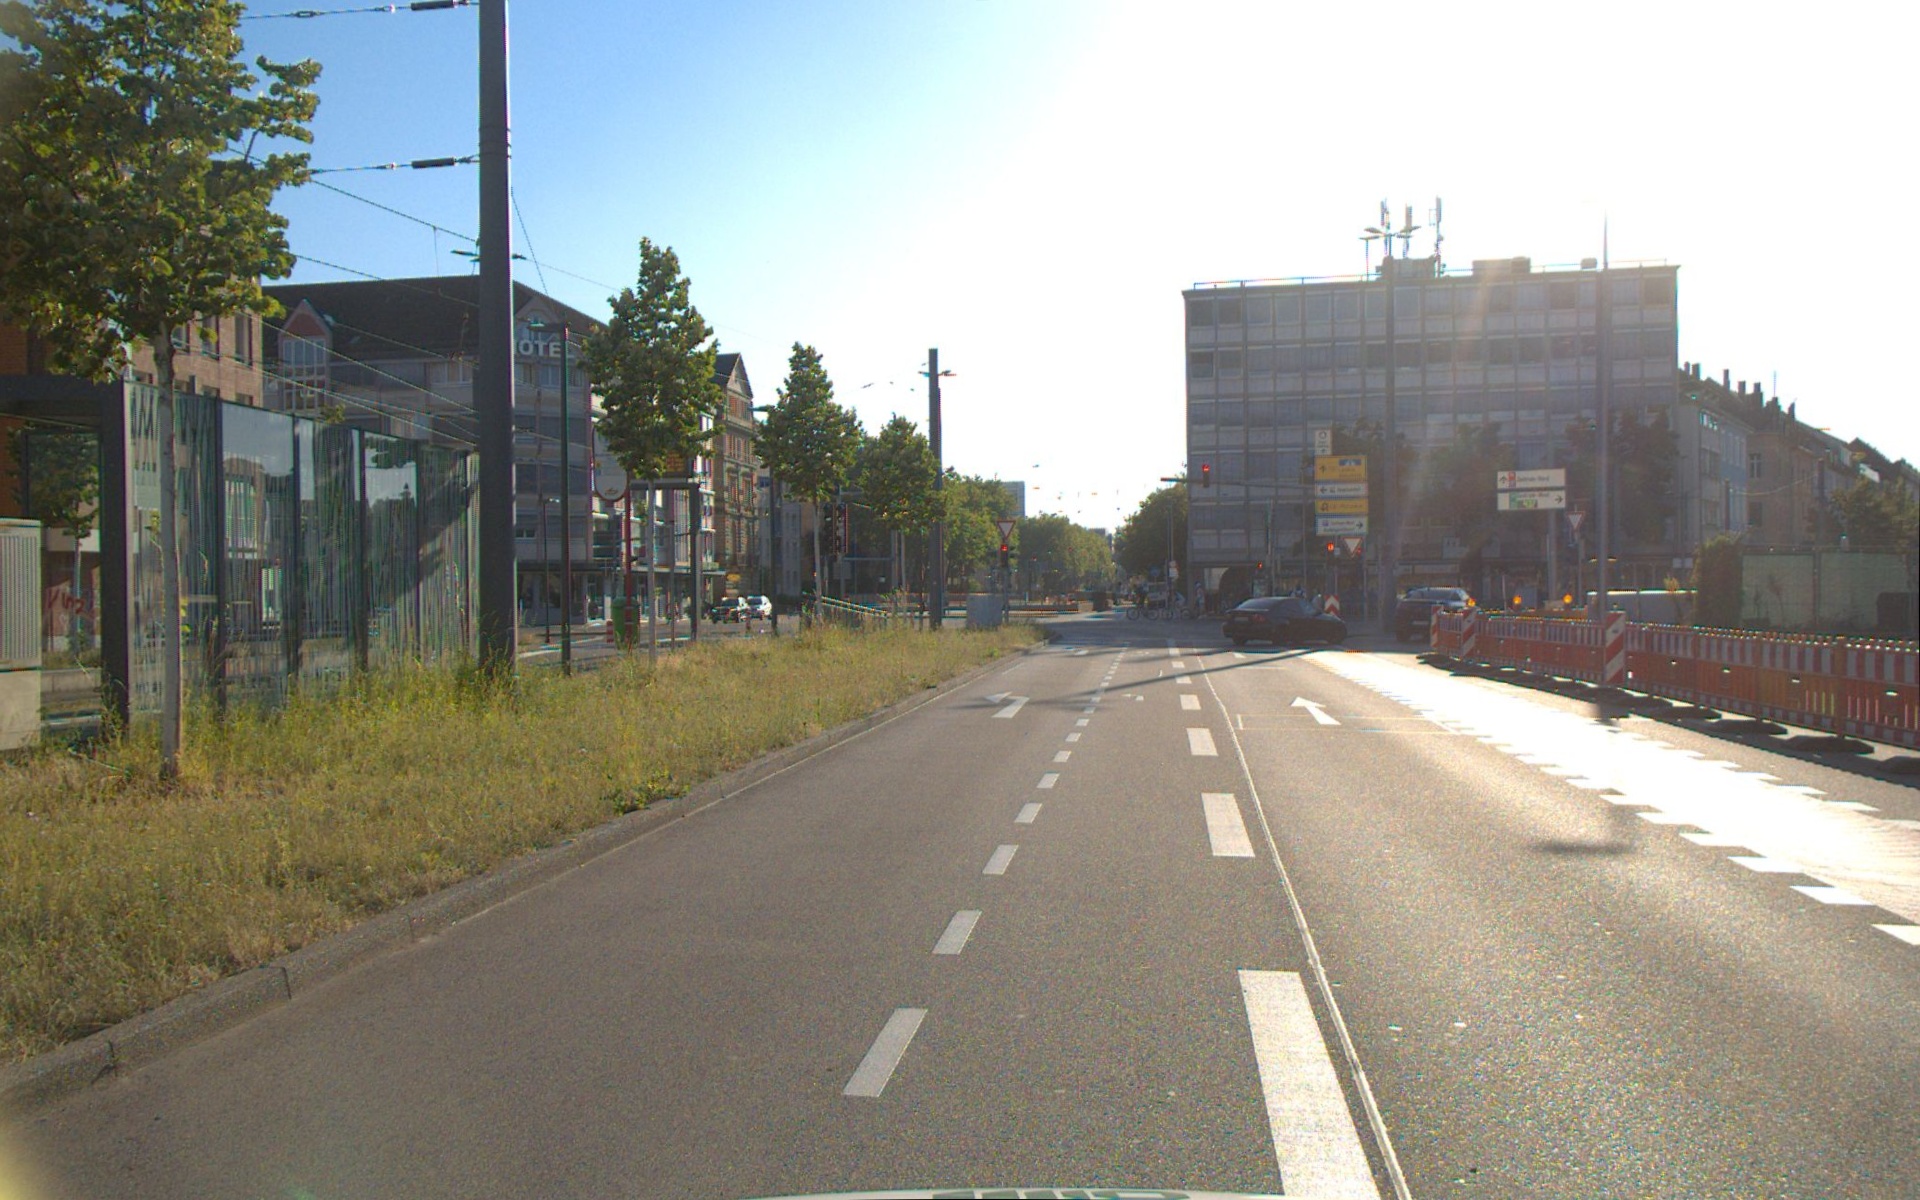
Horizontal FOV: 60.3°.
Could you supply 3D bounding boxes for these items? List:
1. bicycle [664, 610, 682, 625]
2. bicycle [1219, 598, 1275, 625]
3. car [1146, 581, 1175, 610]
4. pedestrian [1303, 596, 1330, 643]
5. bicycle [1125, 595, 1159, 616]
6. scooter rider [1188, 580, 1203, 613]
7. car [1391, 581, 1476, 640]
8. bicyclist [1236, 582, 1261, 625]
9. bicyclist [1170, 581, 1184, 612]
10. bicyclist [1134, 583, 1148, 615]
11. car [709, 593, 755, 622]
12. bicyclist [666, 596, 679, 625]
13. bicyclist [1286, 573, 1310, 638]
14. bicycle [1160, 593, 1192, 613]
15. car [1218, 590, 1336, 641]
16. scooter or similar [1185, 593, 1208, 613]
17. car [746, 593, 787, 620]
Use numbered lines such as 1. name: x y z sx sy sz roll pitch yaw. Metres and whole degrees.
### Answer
1. bicycle: -18.714 1.124 107.801 0.585 0.931 1.837 -1 0 8
2. bicycle: 11.442 0.469 66.006 2.178 1.044 0.683 0 0 10
3. car: 18.284 -0.410 151.225 2.433 2.434 5.938 -2 0 6
4. pedestrian: 12.537 0.665 58.170 0.860 1.625 0.656 -1 0 6
5. bicycle: 9.862 0.296 89.817 1.740 1.091 0.535 -1 0 -3
6. scooter rider: 12.661 -0.170 88.891 0.650 1.742 0.526 -1 0 -3
7. car: 15.257 0.303 53.172 1.955 1.723 3.996 1 2 26
8. bicyclist: 11.508 0.131 65.994 0.938 1.690 0.692 0 0 10
9. bicyclist: 12.415 -0.181 94.568 0.650 1.742 0.538 -1 0 -3
10. bicyclist: 9.826 -0.046 89.814 0.650 1.742 0.538 -1 0 -3
11. car: -15.397 0.491 111.866 1.951 1.892 4.003 -1 0 9
12. bicyclist: -18.728 0.666 107.712 0.580 1.894 0.642 -1 0 8
13. bicyclist: 10.936 0.178 53.510 0.630 2.048 1.068 1 2 7
14. bicycle: 12.340 0.165 94.564 1.697 1.078 0.539 -1 0 -3
15. car: 9.440 0.427 49.065 1.717 1.451 3.979 0 0 40
16. scooter or similar: 12.705 0.161 88.888 1.148 1.091 0.529 -1 0 -3
17. car: -13.989 0.480 119.733 1.951 1.892 4.003 -1 0 9
